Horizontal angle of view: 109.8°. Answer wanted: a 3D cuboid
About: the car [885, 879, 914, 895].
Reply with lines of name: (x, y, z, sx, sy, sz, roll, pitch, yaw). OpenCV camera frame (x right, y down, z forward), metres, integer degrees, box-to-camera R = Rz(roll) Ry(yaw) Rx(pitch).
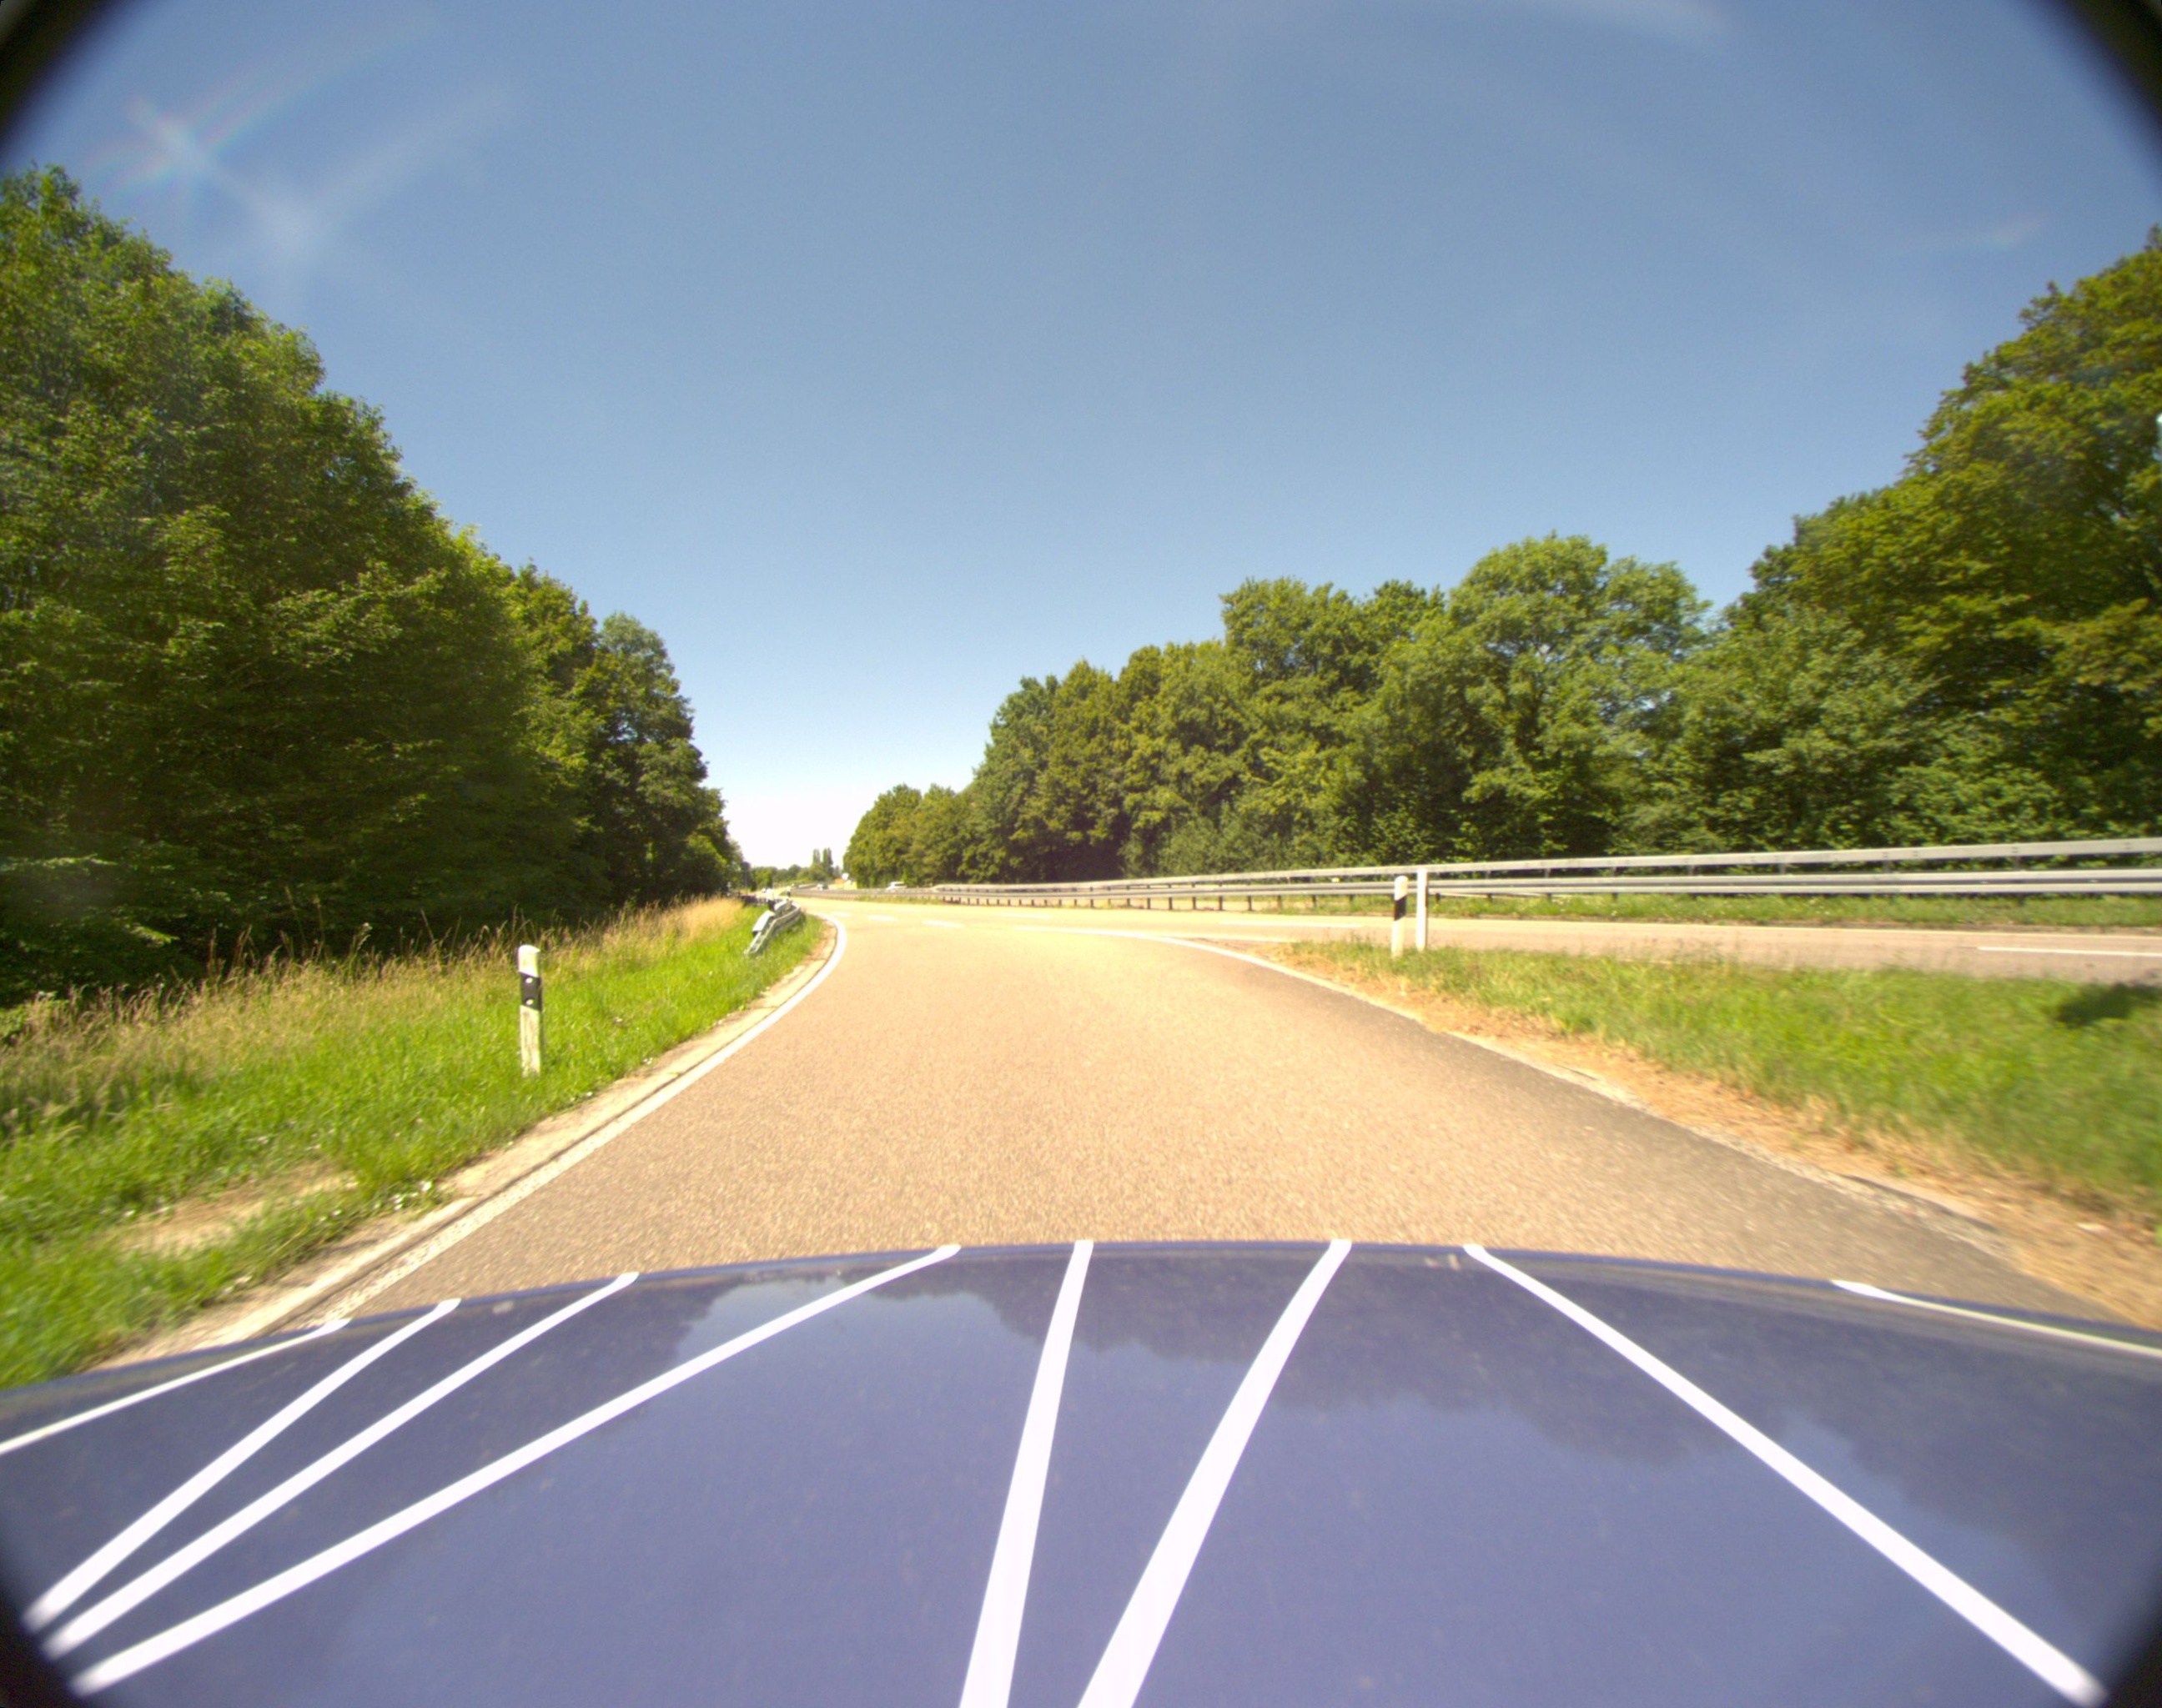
car: (-19.222, 3.513, 80.385, 1.764, 1.563, 4.404, -1, -2, -31)

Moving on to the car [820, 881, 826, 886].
car: (-81.322, 9.240, 239.602, 1.658, 1.596, 4.214, -1, -2, -19)
